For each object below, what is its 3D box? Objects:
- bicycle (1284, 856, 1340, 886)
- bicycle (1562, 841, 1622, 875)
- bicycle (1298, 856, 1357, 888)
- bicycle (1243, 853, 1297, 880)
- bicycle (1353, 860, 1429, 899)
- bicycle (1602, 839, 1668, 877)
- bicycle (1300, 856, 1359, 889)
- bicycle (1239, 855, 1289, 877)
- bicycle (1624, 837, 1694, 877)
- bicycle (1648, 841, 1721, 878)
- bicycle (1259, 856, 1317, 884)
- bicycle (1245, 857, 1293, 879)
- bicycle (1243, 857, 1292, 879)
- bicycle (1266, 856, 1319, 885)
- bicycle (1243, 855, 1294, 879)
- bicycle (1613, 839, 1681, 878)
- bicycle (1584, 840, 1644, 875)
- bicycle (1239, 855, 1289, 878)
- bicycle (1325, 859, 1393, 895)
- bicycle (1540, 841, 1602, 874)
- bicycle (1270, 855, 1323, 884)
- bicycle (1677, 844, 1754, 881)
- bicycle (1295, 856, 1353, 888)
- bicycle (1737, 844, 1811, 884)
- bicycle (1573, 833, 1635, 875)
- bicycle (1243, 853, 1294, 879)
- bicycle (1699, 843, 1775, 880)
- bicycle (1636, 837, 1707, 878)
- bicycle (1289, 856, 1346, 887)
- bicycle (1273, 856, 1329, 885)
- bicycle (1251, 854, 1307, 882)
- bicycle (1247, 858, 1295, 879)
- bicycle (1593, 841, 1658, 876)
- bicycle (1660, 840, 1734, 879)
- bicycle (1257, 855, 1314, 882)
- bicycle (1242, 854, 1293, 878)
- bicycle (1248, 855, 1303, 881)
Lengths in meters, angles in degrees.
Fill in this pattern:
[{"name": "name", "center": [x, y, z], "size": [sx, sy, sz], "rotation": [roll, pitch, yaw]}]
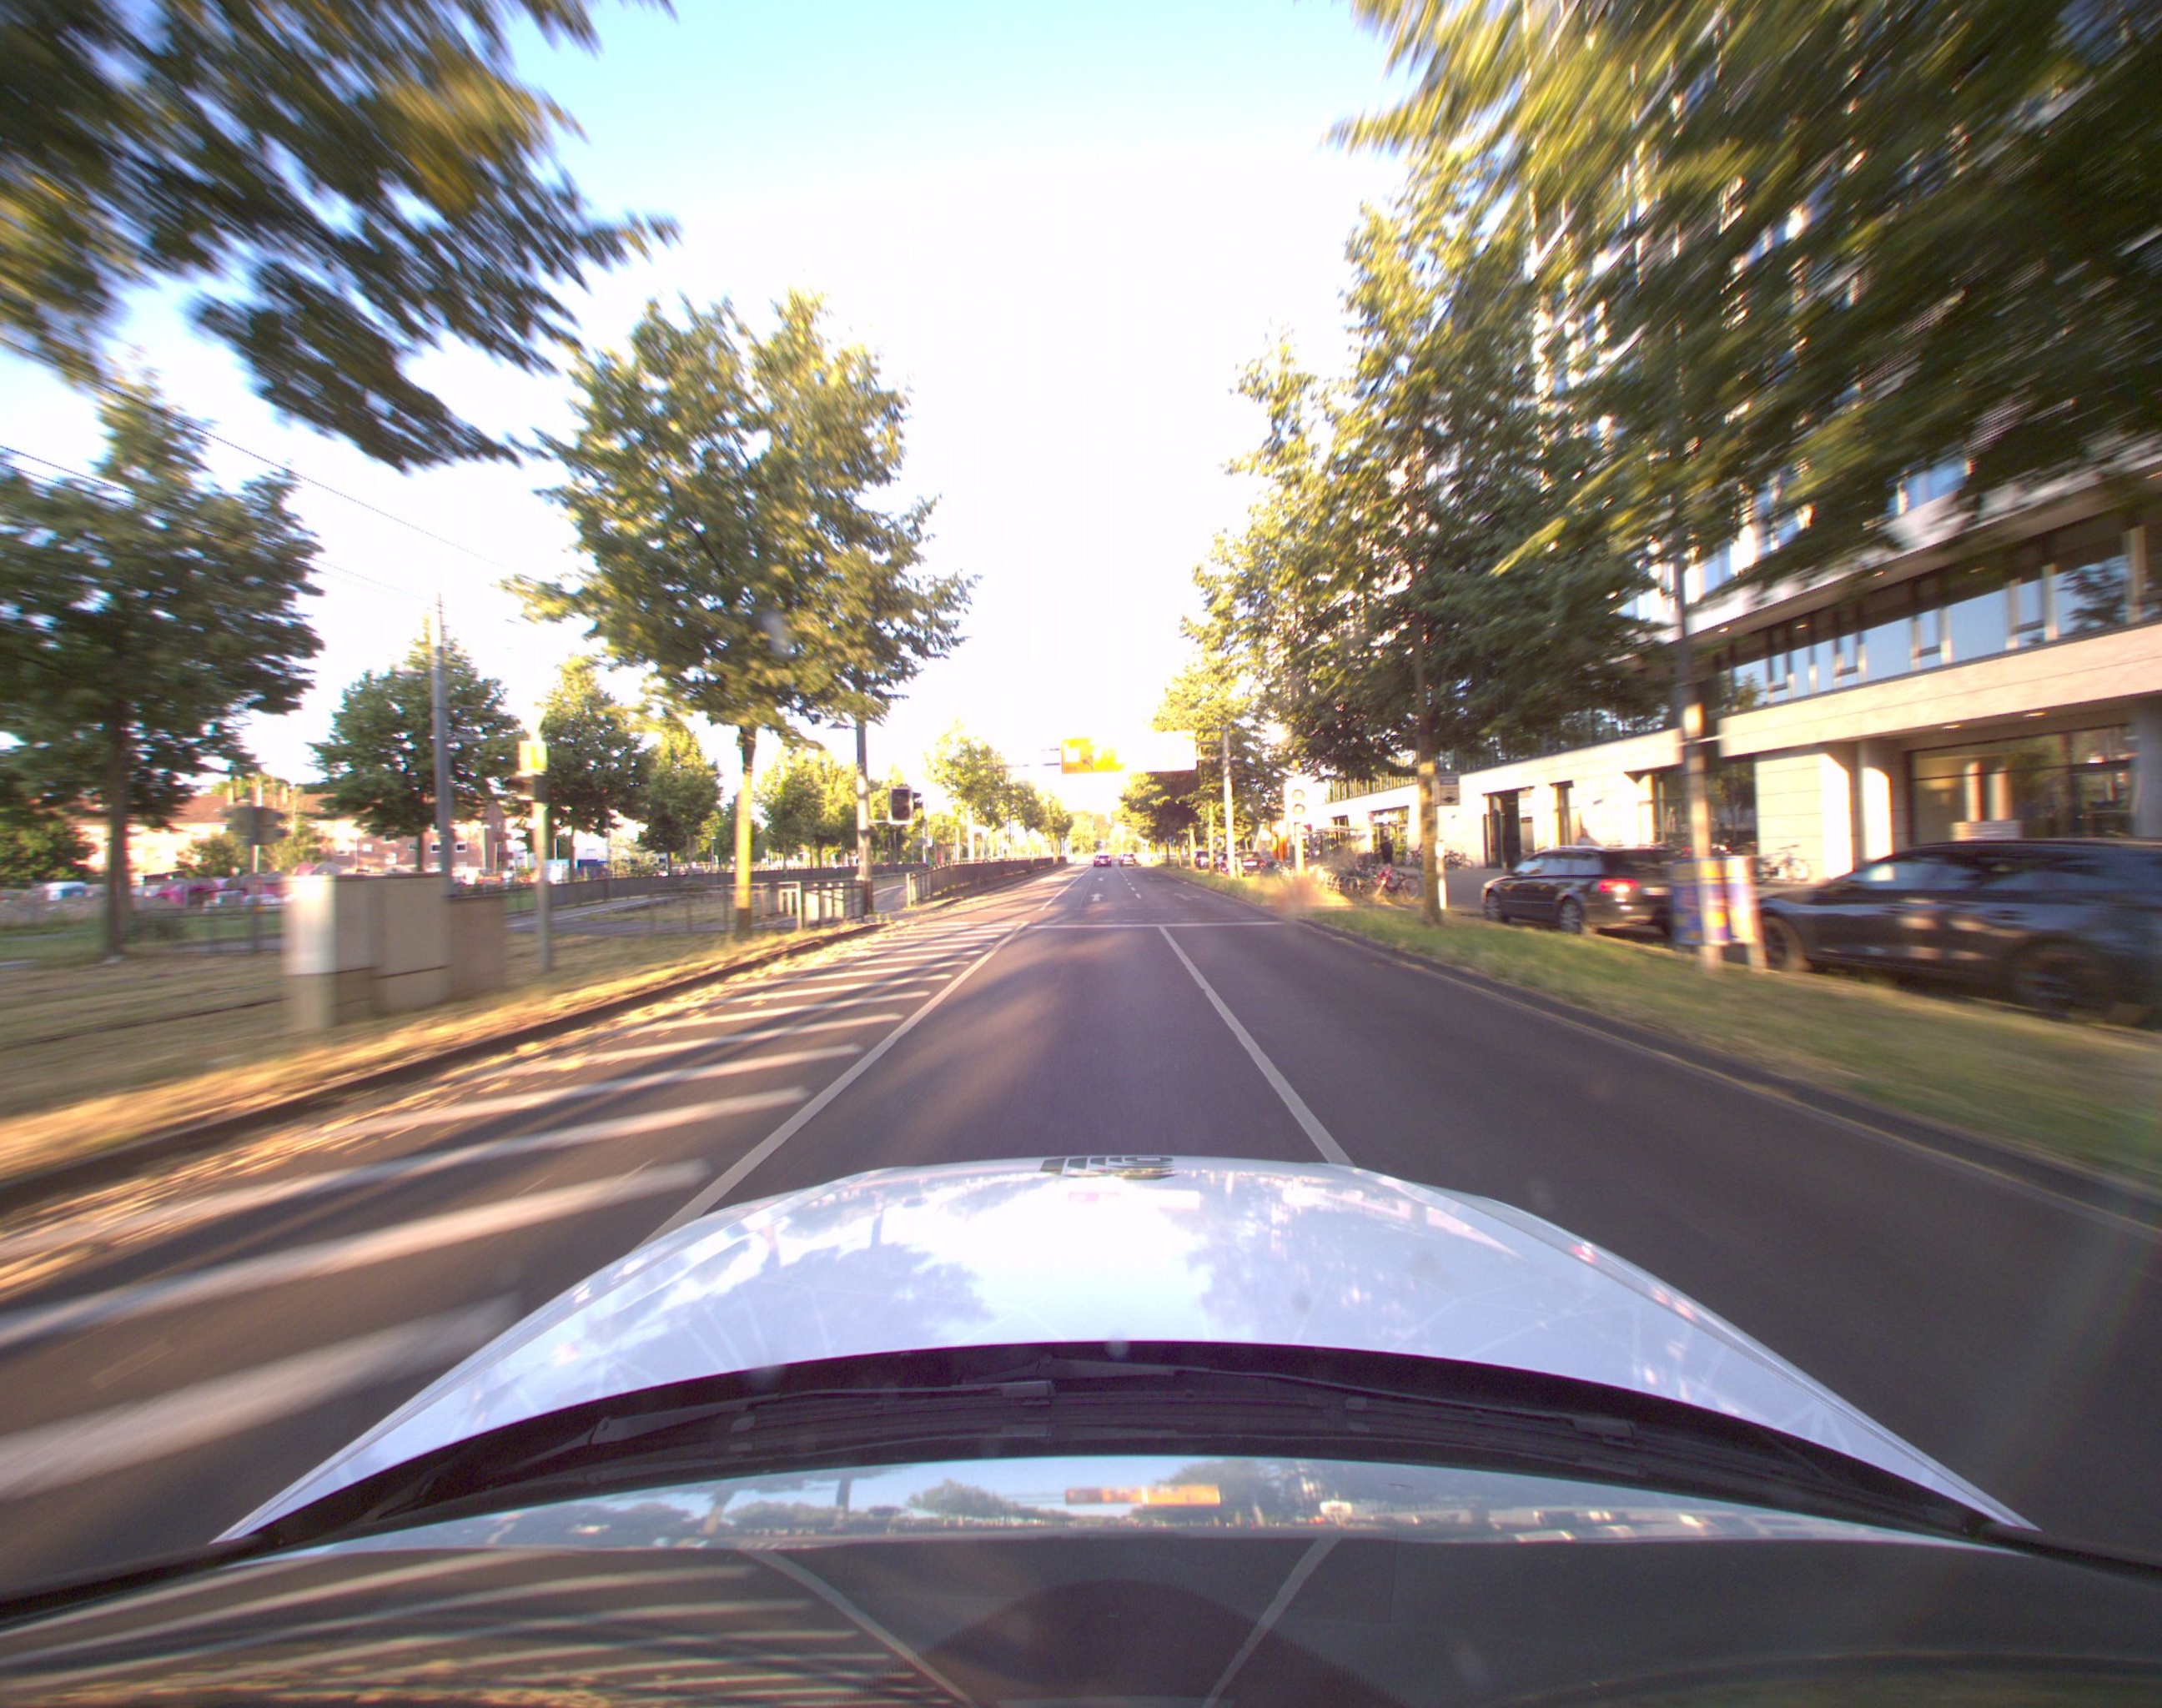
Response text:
[{"name": "bicycle", "center": [8.430, 0.623, 29.785], "size": [1.939, 1.054, 0.413], "rotation": [1, 0, -6]}, {"name": "bicycle", "center": [18.169, 0.133, 28.977], "size": [1.826, 1.121, 0.503], "rotation": [-2, 0, -2]}, {"name": "bicycle", "center": [8.526, 0.631, 28.183], "size": [1.939, 1.054, 0.347], "rotation": [1, 0, -6]}, {"name": "bicycle", "center": [8.011, 0.525, 34.509], "size": [2.139, 1.054, 0.524], "rotation": [1, 0, -5]}, {"name": "bicycle", "center": [8.773, 0.713, 23.085], "size": [1.935, 1.054, 0.545], "rotation": [1, 0, 1]}, {"name": "bicycle", "center": [18.245, 0.124, 26.815], "size": [1.826, 1.177, 0.503], "rotation": [-2, 0, -2]}, {"name": "bicycle", "center": [8.493, 0.631, 27.815], "size": [1.939, 1.054, 0.314], "rotation": [1, 0, -6]}, {"name": "bicycle", "center": [8.304, 0.549, 36.969], "size": [2.139, 0.939, 0.451], "rotation": [1, 0, -5]}, {"name": "bicycle", "center": [18.202, 0.096, 25.656], "size": [1.823, 1.177, 0.446], "rotation": [-2, 0, 2]}, {"name": "bicycle", "center": [18.249, 0.160, 24.632], "size": [1.823, 1.047, 0.446], "rotation": [-2, 0, 2]}, {"name": "bicycle", "center": [8.154, 0.618, 32.049], "size": [2.139, 1.054, 0.570], "rotation": [1, 0, -5]}, {"name": "bicycle", "center": [8.825, 0.660, 38.231], "size": [2.139, 0.939, 0.442], "rotation": [1, 0, -5]}, {"name": "bicycle", "center": [8.558, 0.637, 37.377], "size": [2.139, 0.939, 0.442], "rotation": [1, 0, -5]}, {"name": "bicycle", "center": [8.129, 0.623, 31.359], "size": [1.938, 1.054, 0.404], "rotation": [1, 0, -5]}, {"name": "bicycle", "center": [8.160, 0.549, 35.435], "size": [2.139, 0.986, 0.442], "rotation": [1, 0, -5]}, {"name": "bicycle", "center": [18.214, 0.154, 26.237], "size": [1.826, 1.177, 0.503], "rotation": [-2, 0, -2]}, {"name": "bicycle", "center": [18.273, 0.126, 27.922], "size": [1.826, 1.124, 0.372], "rotation": [-2, 0, -2]}, {"name": "bicycle", "center": [8.190, 0.564, 36.463], "size": [2.139, 0.939, 0.442], "rotation": [1, 0, -5]}, {"name": "bicycle", "center": [8.358, 0.690, 24.488], "size": [1.944, 1.054, 0.542], "rotation": [1, 0, -14]}, {"name": "bicycle", "center": [18.237, 0.129, 30.335], "size": [1.977, 1.141, 0.503], "rotation": [-2, 0, -2]}, {"name": "bicycle", "center": [8.170, 0.575, 30.892], "size": [1.938, 1.054, 0.404], "rotation": [1, 0, -5]}, {"name": "bicycle", "center": [18.223, 0.236, 23.404], "size": [1.823, 0.987, 0.404], "rotation": [-2, 0, 2]}, {"name": "bicycle", "center": [8.550, 0.625, 28.676], "size": [1.939, 1.054, 0.413], "rotation": [1, 0, -6]}, {"name": "bicycle", "center": [18.295, 0.256, 21.508], "size": [1.569, 0.987, 0.404], "rotation": [-2, 0, 2]}, {"name": "bicycle", "center": [18.258, -0.001, 28.425], "size": [1.826, 1.357, 0.503], "rotation": [-2, 0, -2]}, {"name": "bicycle", "center": [8.068, 0.517, 35.007], "size": [2.139, 1.054, 0.300], "rotation": [1, 0, -5]}, {"name": "bicycle", "center": [18.300, 0.214, 22.725], "size": [1.737, 0.953, 0.404], "rotation": [-2, 0, 2]}, {"name": "bicycle", "center": [18.227, 0.102, 25.147], "size": [1.823, 1.177, 0.446], "rotation": [-2, 0, 2]}, {"name": "bicycle", "center": [8.480, 0.630, 29.202], "size": [1.939, 1.054, 0.413], "rotation": [1, 0, -6]}, {"name": "bicycle", "center": [8.208, 0.613, 30.404], "size": [1.936, 1.054, 0.404], "rotation": [1, 0, -2]}, {"name": "bicycle", "center": [8.085, 0.573, 33.332], "size": [2.139, 1.054, 0.570], "rotation": [1, 0, -5]}, {"name": "bicycle", "center": [9.050, 0.676, 38.752], "size": [2.139, 0.939, 0.544], "rotation": [1, 0, -5]}, {"name": "bicycle", "center": [18.338, 0.147, 27.434], "size": [1.826, 1.113, 0.503], "rotation": [-2, 0, -2]}, {"name": "bicycle", "center": [18.258, 0.161, 24.145], "size": [1.823, 1.057, 0.404], "rotation": [-2, 0, 2]}, {"name": "bicycle", "center": [8.202, 0.582, 32.721], "size": [2.139, 1.054, 0.561], "rotation": [1, 0, -5]}, {"name": "bicycle", "center": [8.223, 0.534, 35.944], "size": [2.139, 0.973, 0.442], "rotation": [1, 0, -5]}, {"name": "bicycle", "center": [8.113, 0.583, 33.961], "size": [2.139, 1.054, 0.524], "rotation": [1, 0, -5]}]
